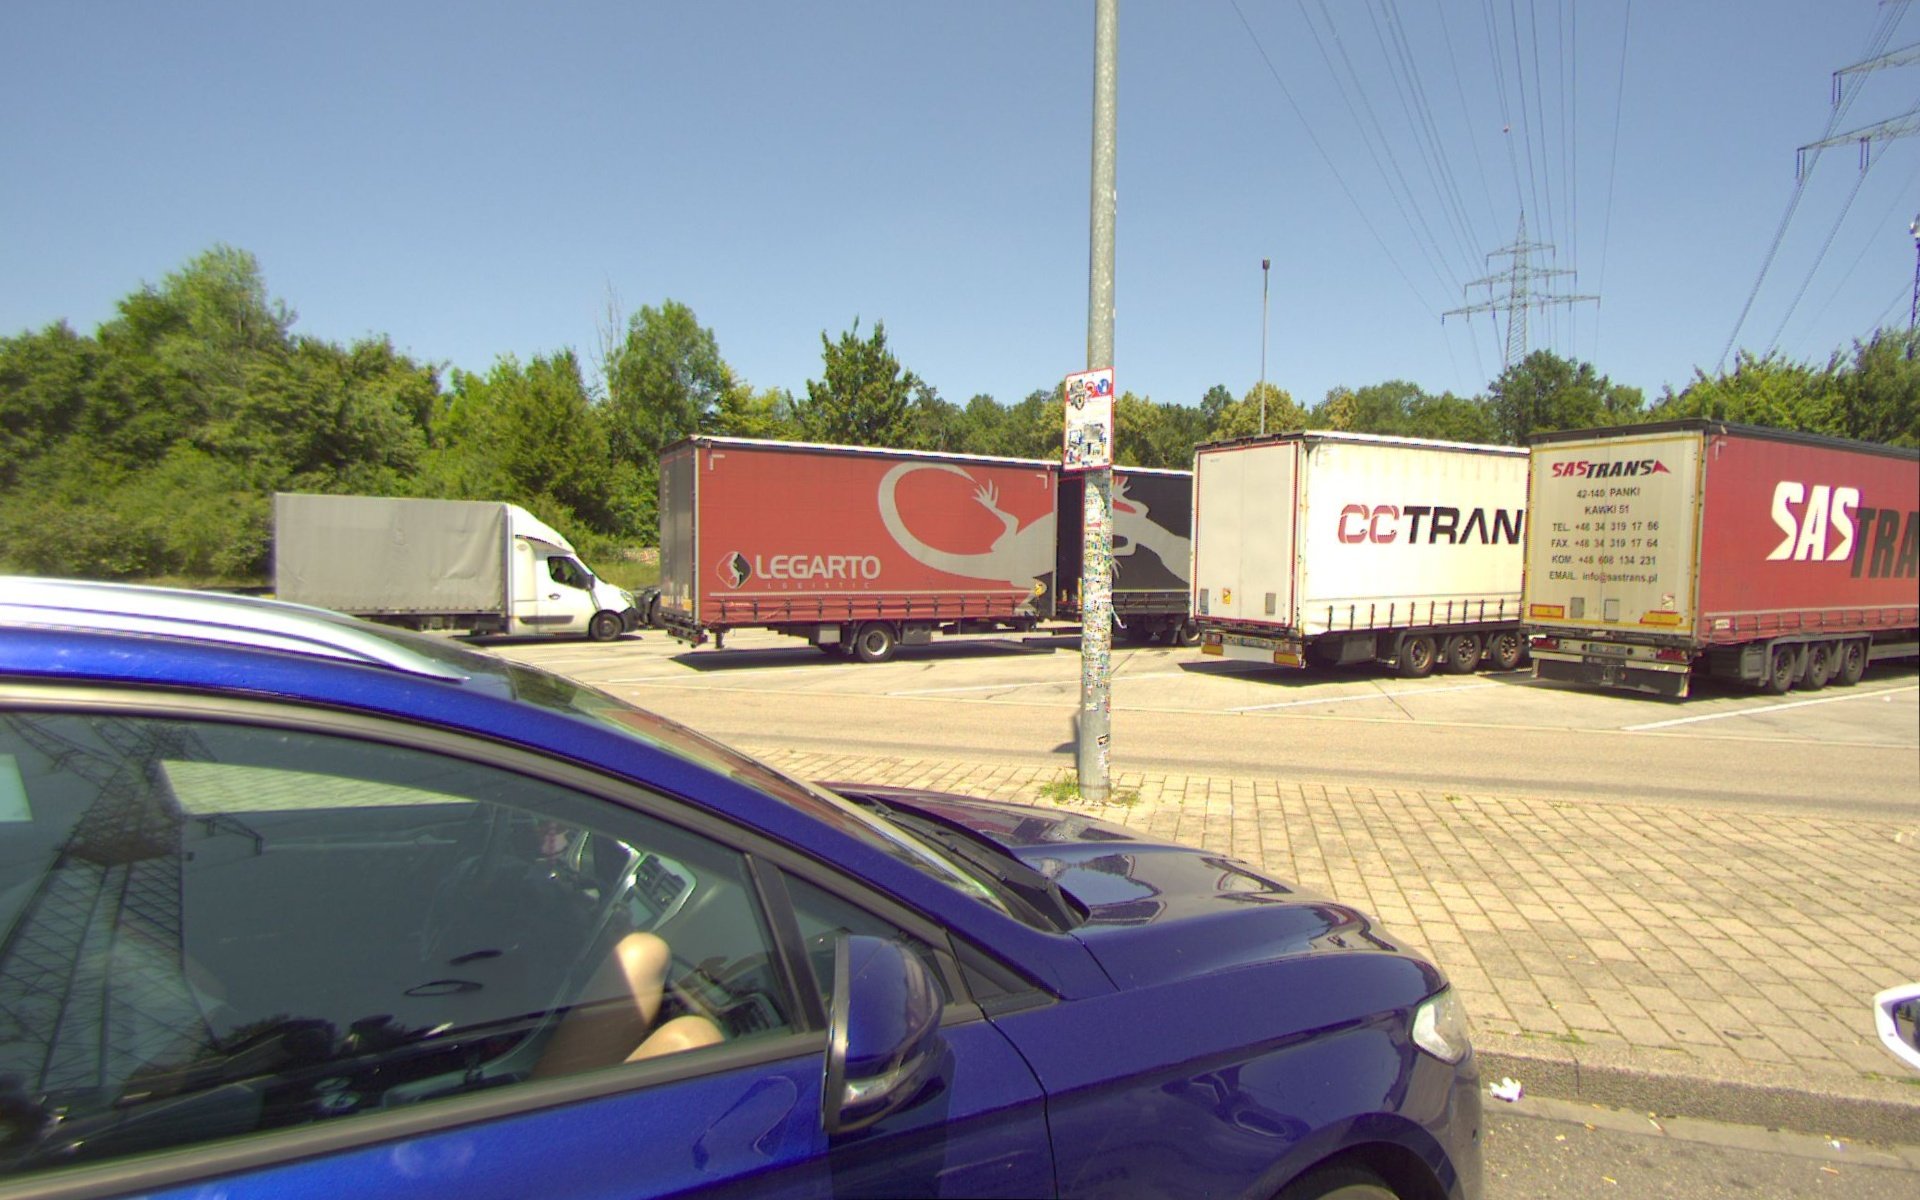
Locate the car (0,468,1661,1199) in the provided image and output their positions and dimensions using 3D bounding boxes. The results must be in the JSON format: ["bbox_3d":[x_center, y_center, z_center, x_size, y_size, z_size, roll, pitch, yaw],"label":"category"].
[{"bbox_3d":[-0.999,0.657,1.469,4.592,1.502,1.727,0,0,-33],"label":"car"}]

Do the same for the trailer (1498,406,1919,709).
[{"bbox_3d":[15.388,-0.725,18.558,13.559,4.189,2.892,-1,3,-30],"label":"trailer"}]

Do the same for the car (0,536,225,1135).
[{"bbox_3d":[-4.573,0.584,2.254,4.592,1.554,1.726,0,1,-33],"label":"car"}]

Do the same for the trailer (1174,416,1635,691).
[{"bbox_3d":[8.849,-0.843,19.324,10.048,4.268,2.714,-1,3,-30],"label":"trailer"}]

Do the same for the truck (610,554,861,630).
[{"bbox_3d":[-6.499,-0.200,29.524,6.961,2.040,1.984,0,0,-30],"label":"truck"}]

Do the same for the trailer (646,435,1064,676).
[{"bbox_3d":[-1.944,-0.854,20.264,7.996,4.101,2.696,-1,3,-30],"label":"trailer"}]

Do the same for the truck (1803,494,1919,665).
[{"bbox_3d":[21.710,-0.459,22.302,5.418,3.475,2.838,-1,3,-30],"label":"truck"}]

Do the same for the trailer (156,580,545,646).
[{"bbox_3d":[-14.848,0.228,25.186,7.996,1.394,2.211,-1,3,-30],"label":"trailer"}]

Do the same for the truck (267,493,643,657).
[{"bbox_3d":[-11.220,-0.601,22.901,7.254,3.254,2.515,-1,3,-30],"label":"truck"}]

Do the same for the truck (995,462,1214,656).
[{"bbox_3d":[3.339,-0.933,23.357,4.273,4.072,2.689,-1,3,-30],"label":"truck"}]
